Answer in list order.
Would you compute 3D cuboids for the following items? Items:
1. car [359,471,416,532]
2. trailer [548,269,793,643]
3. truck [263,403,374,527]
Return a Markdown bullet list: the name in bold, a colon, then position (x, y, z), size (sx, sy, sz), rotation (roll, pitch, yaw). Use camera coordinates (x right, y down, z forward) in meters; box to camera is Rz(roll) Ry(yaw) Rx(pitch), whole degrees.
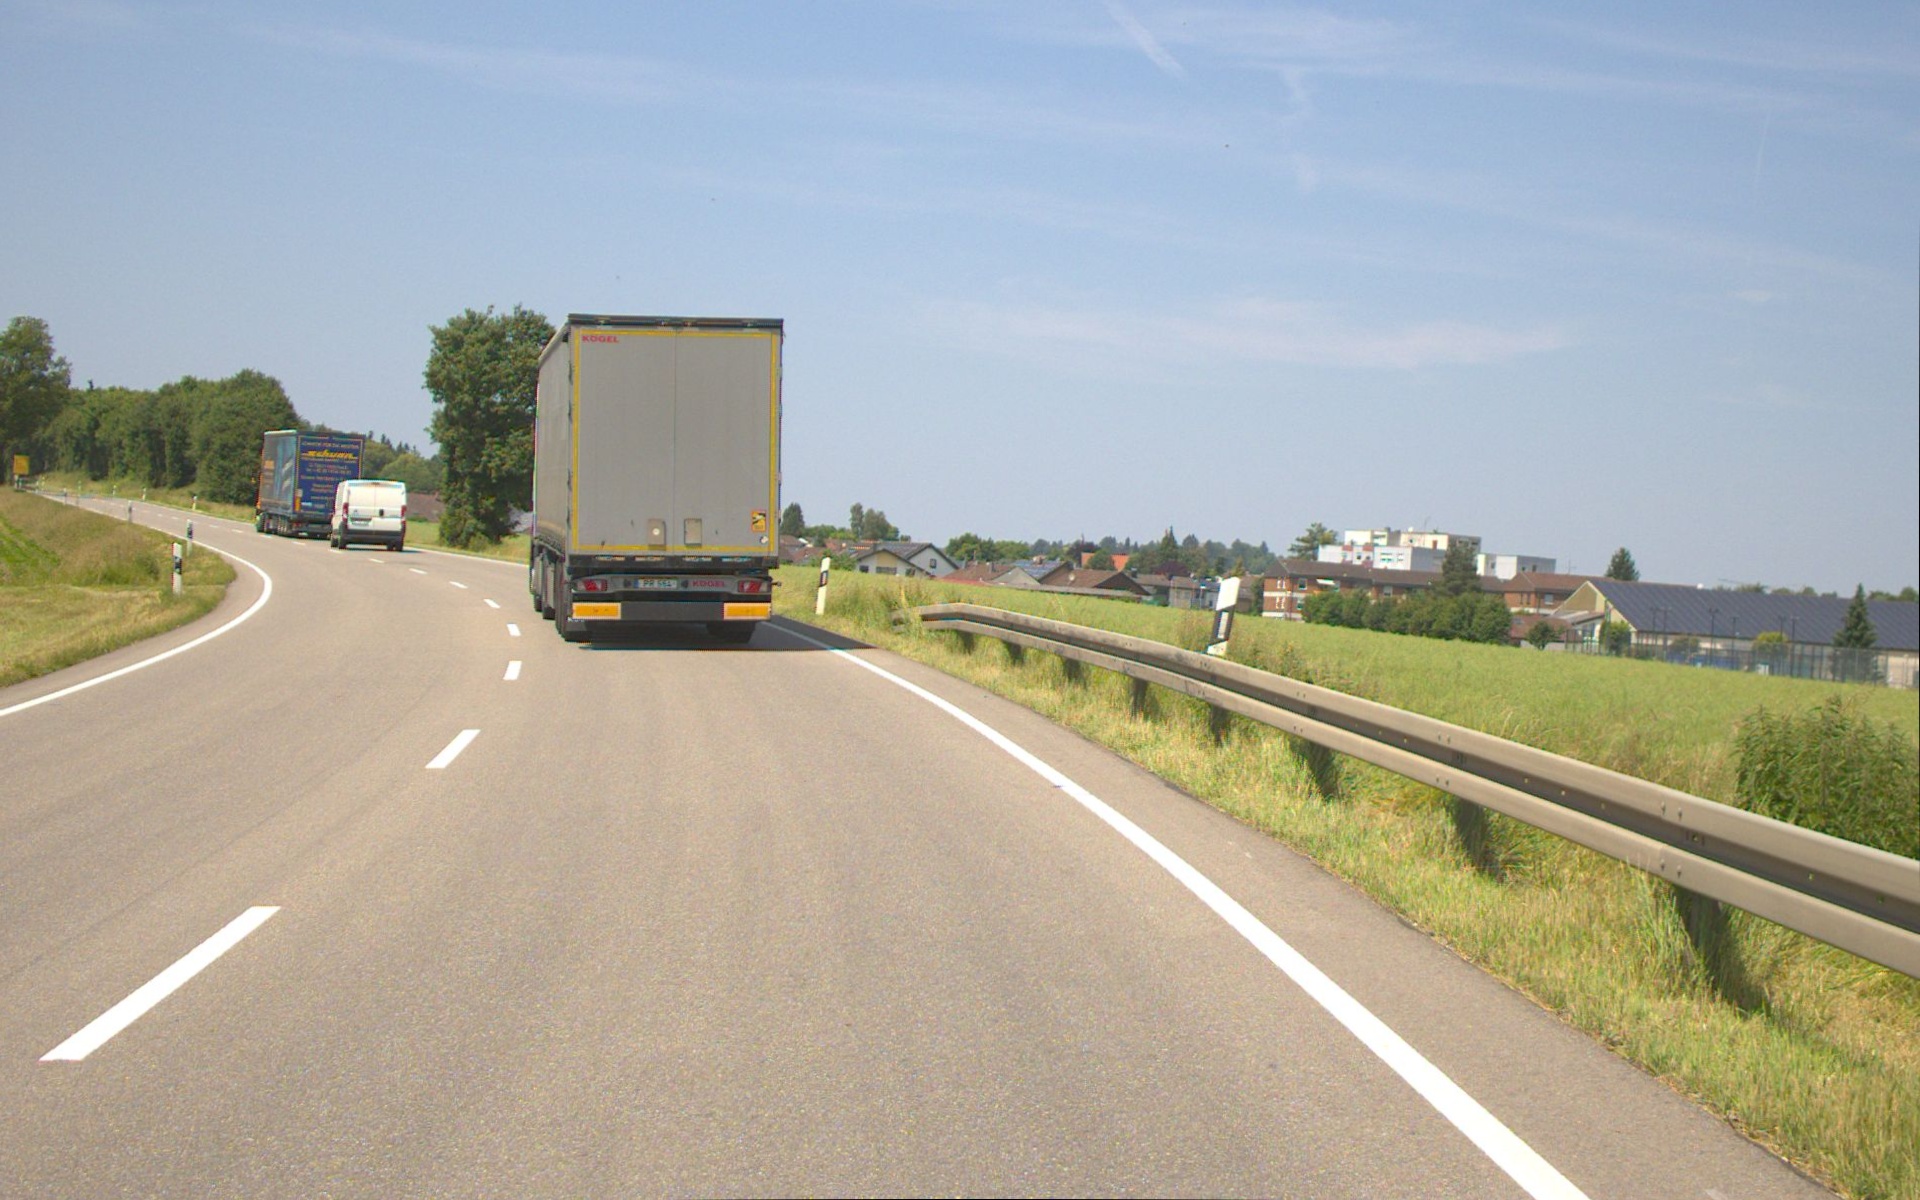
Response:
- **car**: position (-18.505, -3.192, 111.189), size (1.725, 1.866, 4.001), rotation (2, 1, -9)
- **trailer**: position (-4.066, -1.870, 47.179), size (2.866, 4.385, 13.496), rotation (0, 2, -6)
- **truck**: position (-25.347, -5.242, 135.153), size (3.548, 4.377, 18.128), rotation (2, 1, -12)
